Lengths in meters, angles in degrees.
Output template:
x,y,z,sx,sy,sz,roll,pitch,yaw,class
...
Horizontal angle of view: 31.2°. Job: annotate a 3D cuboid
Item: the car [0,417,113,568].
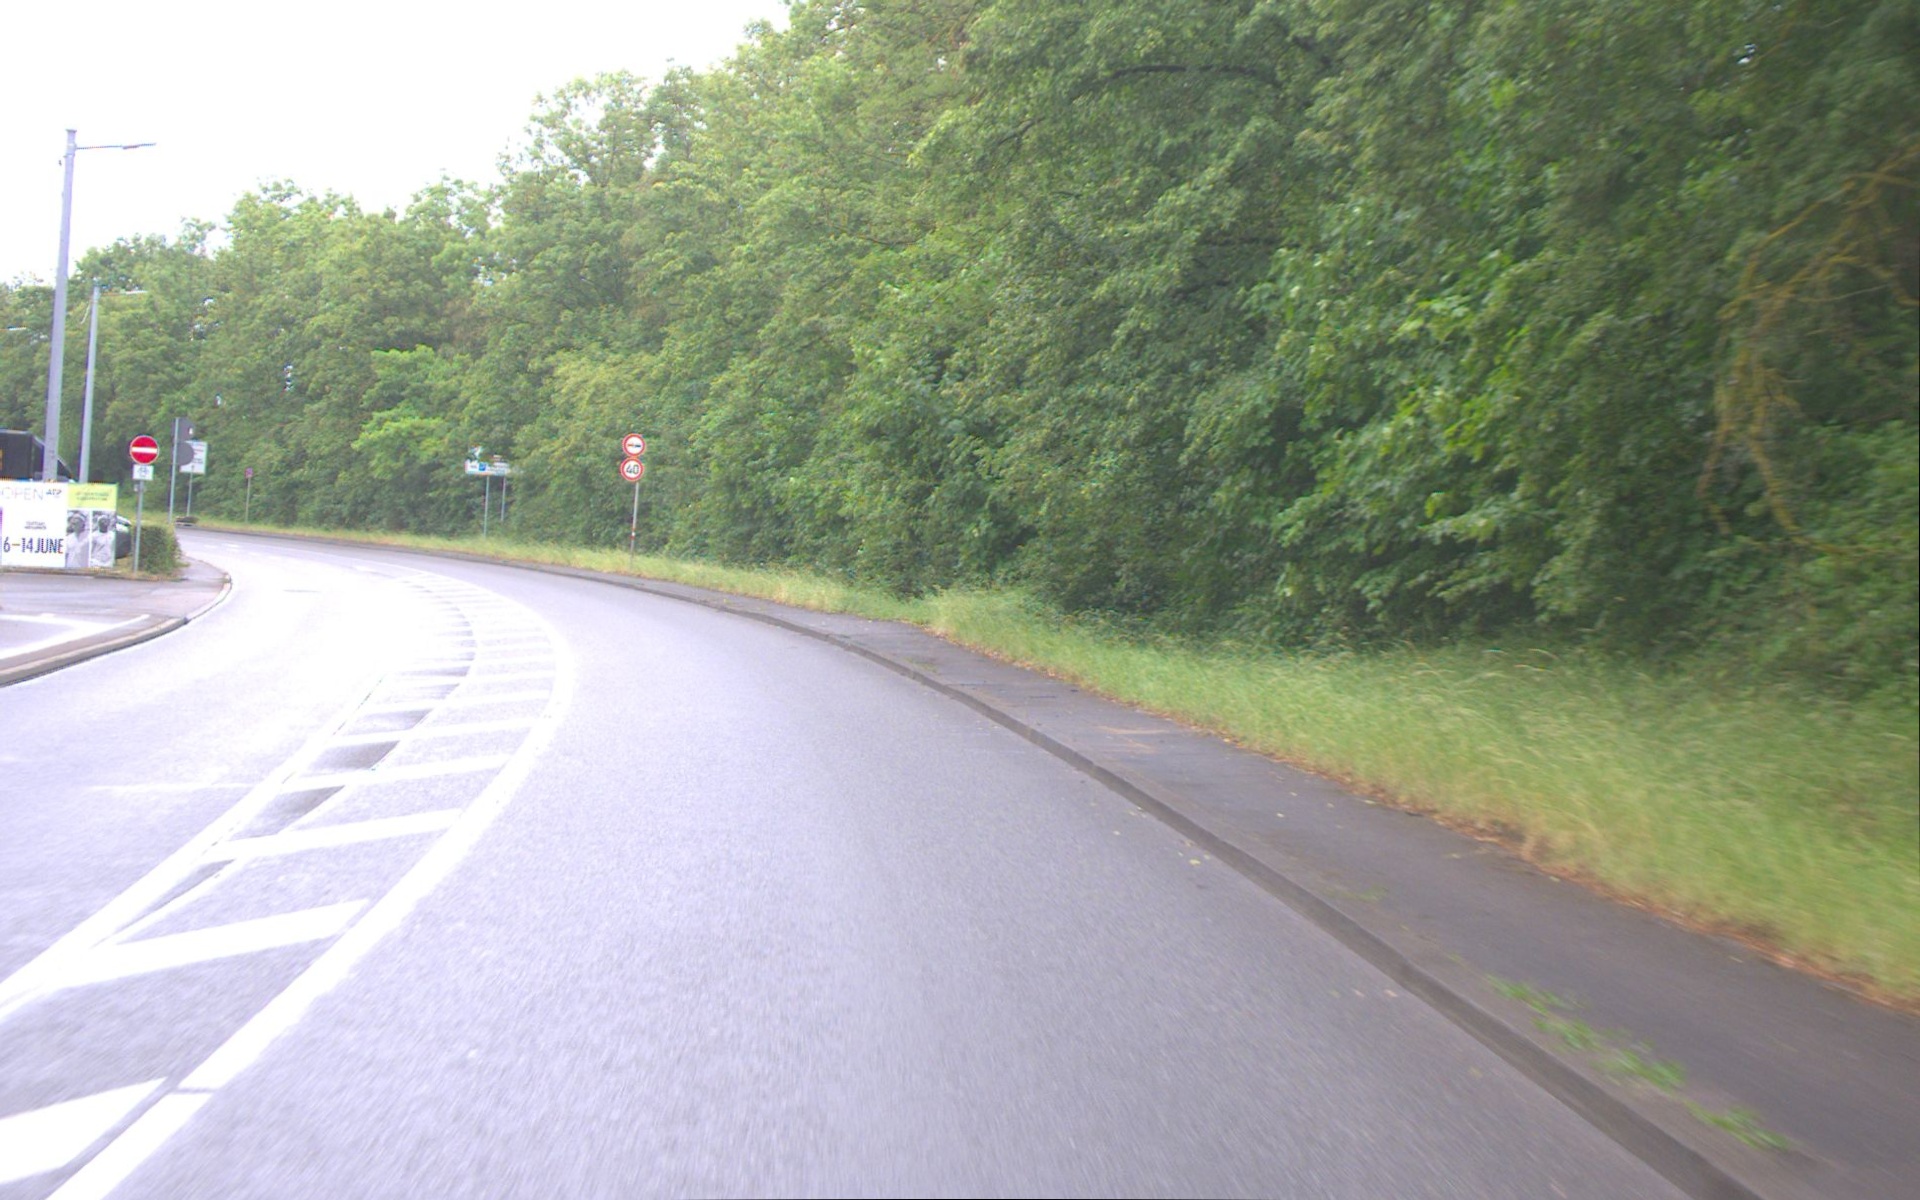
x,y,z,sx,sy,sz,roll,pitch,yaw,class
-23.218,-2.579,81.410,5.945,3.490,2.001,1,1,-18,car
